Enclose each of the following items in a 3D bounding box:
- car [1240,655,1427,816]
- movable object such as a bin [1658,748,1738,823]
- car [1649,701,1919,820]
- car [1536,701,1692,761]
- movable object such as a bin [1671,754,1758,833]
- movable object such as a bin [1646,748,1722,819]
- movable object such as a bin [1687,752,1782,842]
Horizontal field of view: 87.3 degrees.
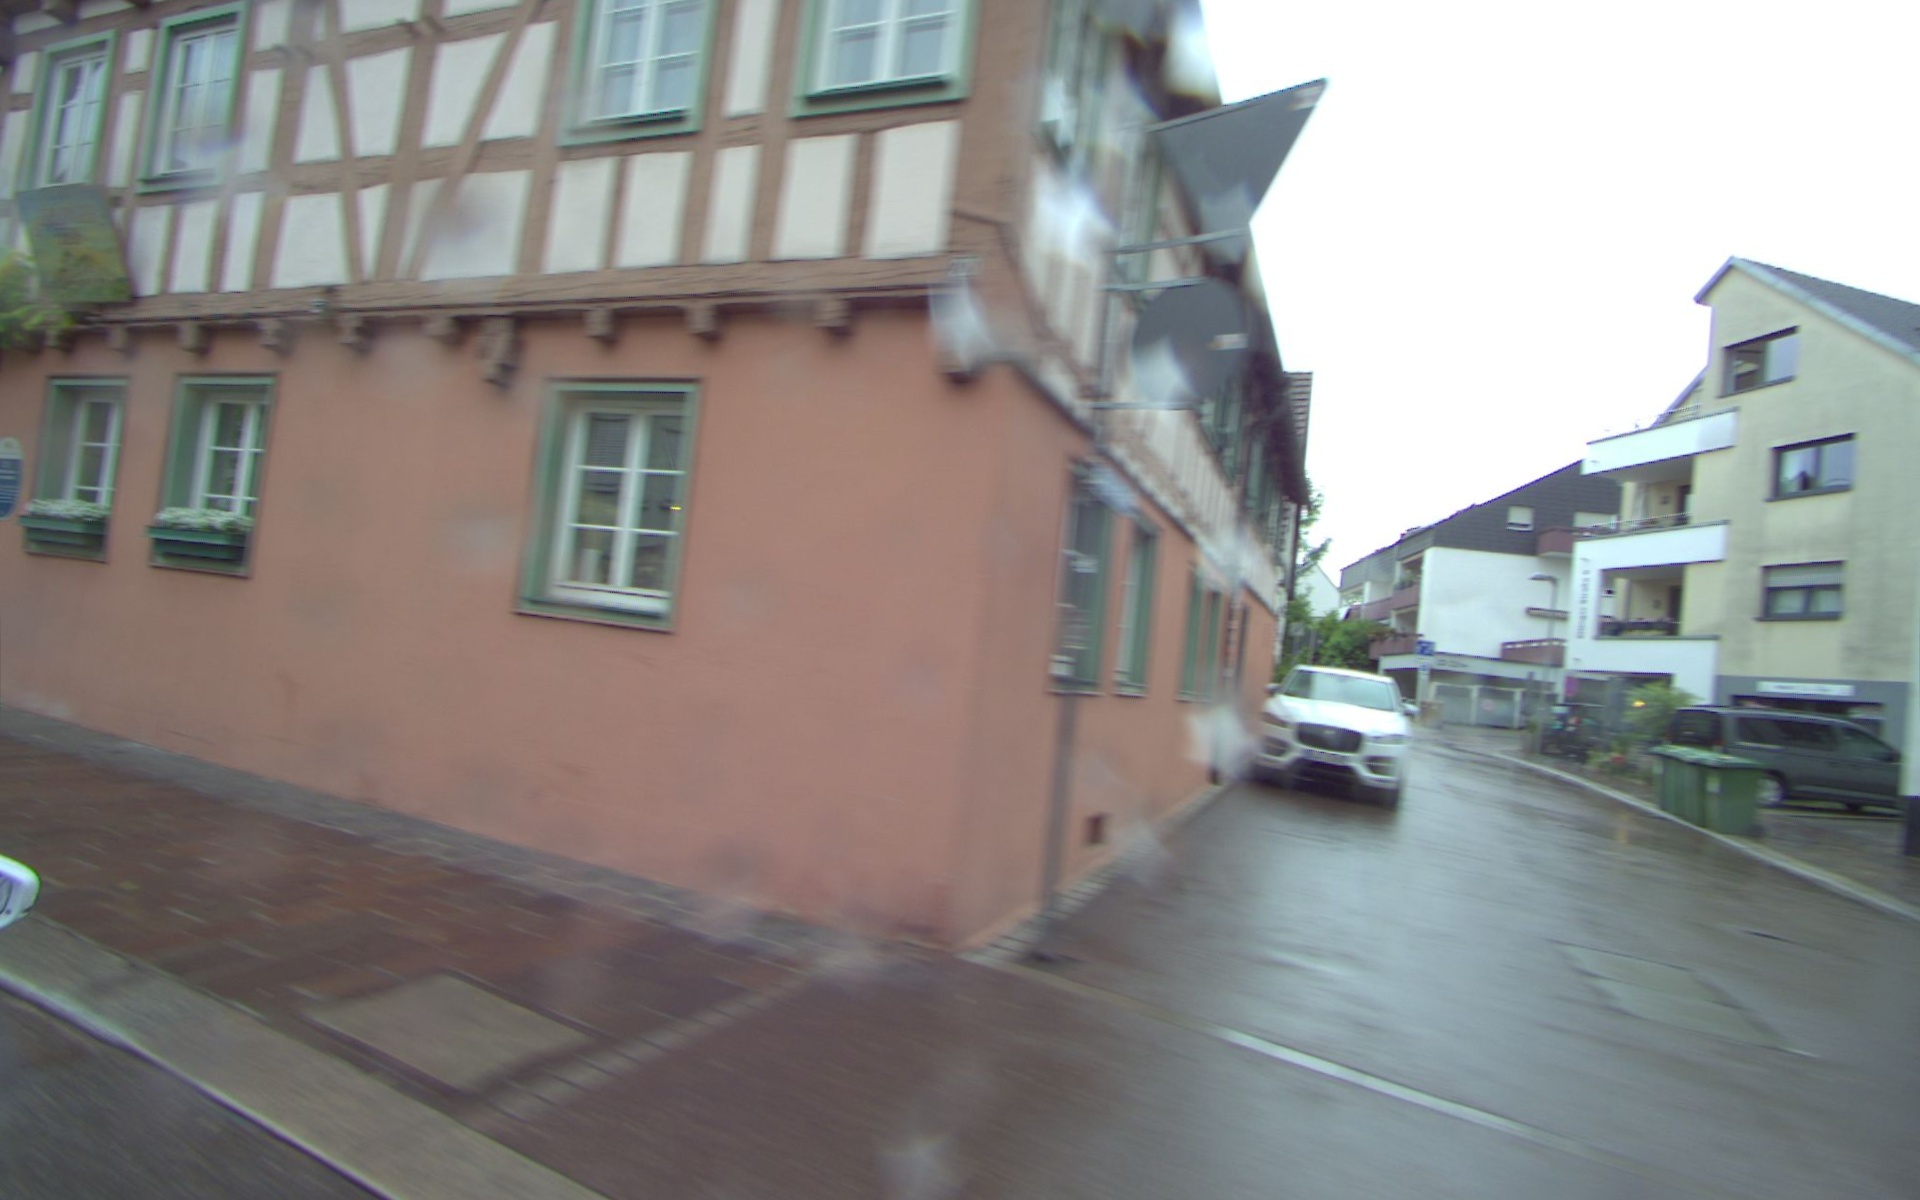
[{"bbox_3d":[5.461,1.813,14.466,1.964,1.652,4.616,8,-1,24],"label":"car"},{"bbox_3d":[11.841,2.961,16.166,0.842,1.037,0.698,4,-4,23],"label":"movable object such as a bin"},{"bbox_3d":[16.041,3.052,19.460,4.001,1.866,1.900,3,-3,5],"label":"car"},{"bbox_3d":[21.131,4.215,32.643,3.814,1.563,1.768,3,-3,5],"label":"car"},{"bbox_3d":[11.550,2.945,15.429,0.842,1.033,0.831,4,-4,23],"label":"movable object such as a bin"},{"bbox_3d":[12.120,3.056,16.866,0.842,1.037,0.698,4,-4,23],"label":"movable object such as a bin"},{"bbox_3d":[11.223,2.839,14.609,0.842,1.123,0.880,4,-4,23],"label":"movable object such as a bin"}]
